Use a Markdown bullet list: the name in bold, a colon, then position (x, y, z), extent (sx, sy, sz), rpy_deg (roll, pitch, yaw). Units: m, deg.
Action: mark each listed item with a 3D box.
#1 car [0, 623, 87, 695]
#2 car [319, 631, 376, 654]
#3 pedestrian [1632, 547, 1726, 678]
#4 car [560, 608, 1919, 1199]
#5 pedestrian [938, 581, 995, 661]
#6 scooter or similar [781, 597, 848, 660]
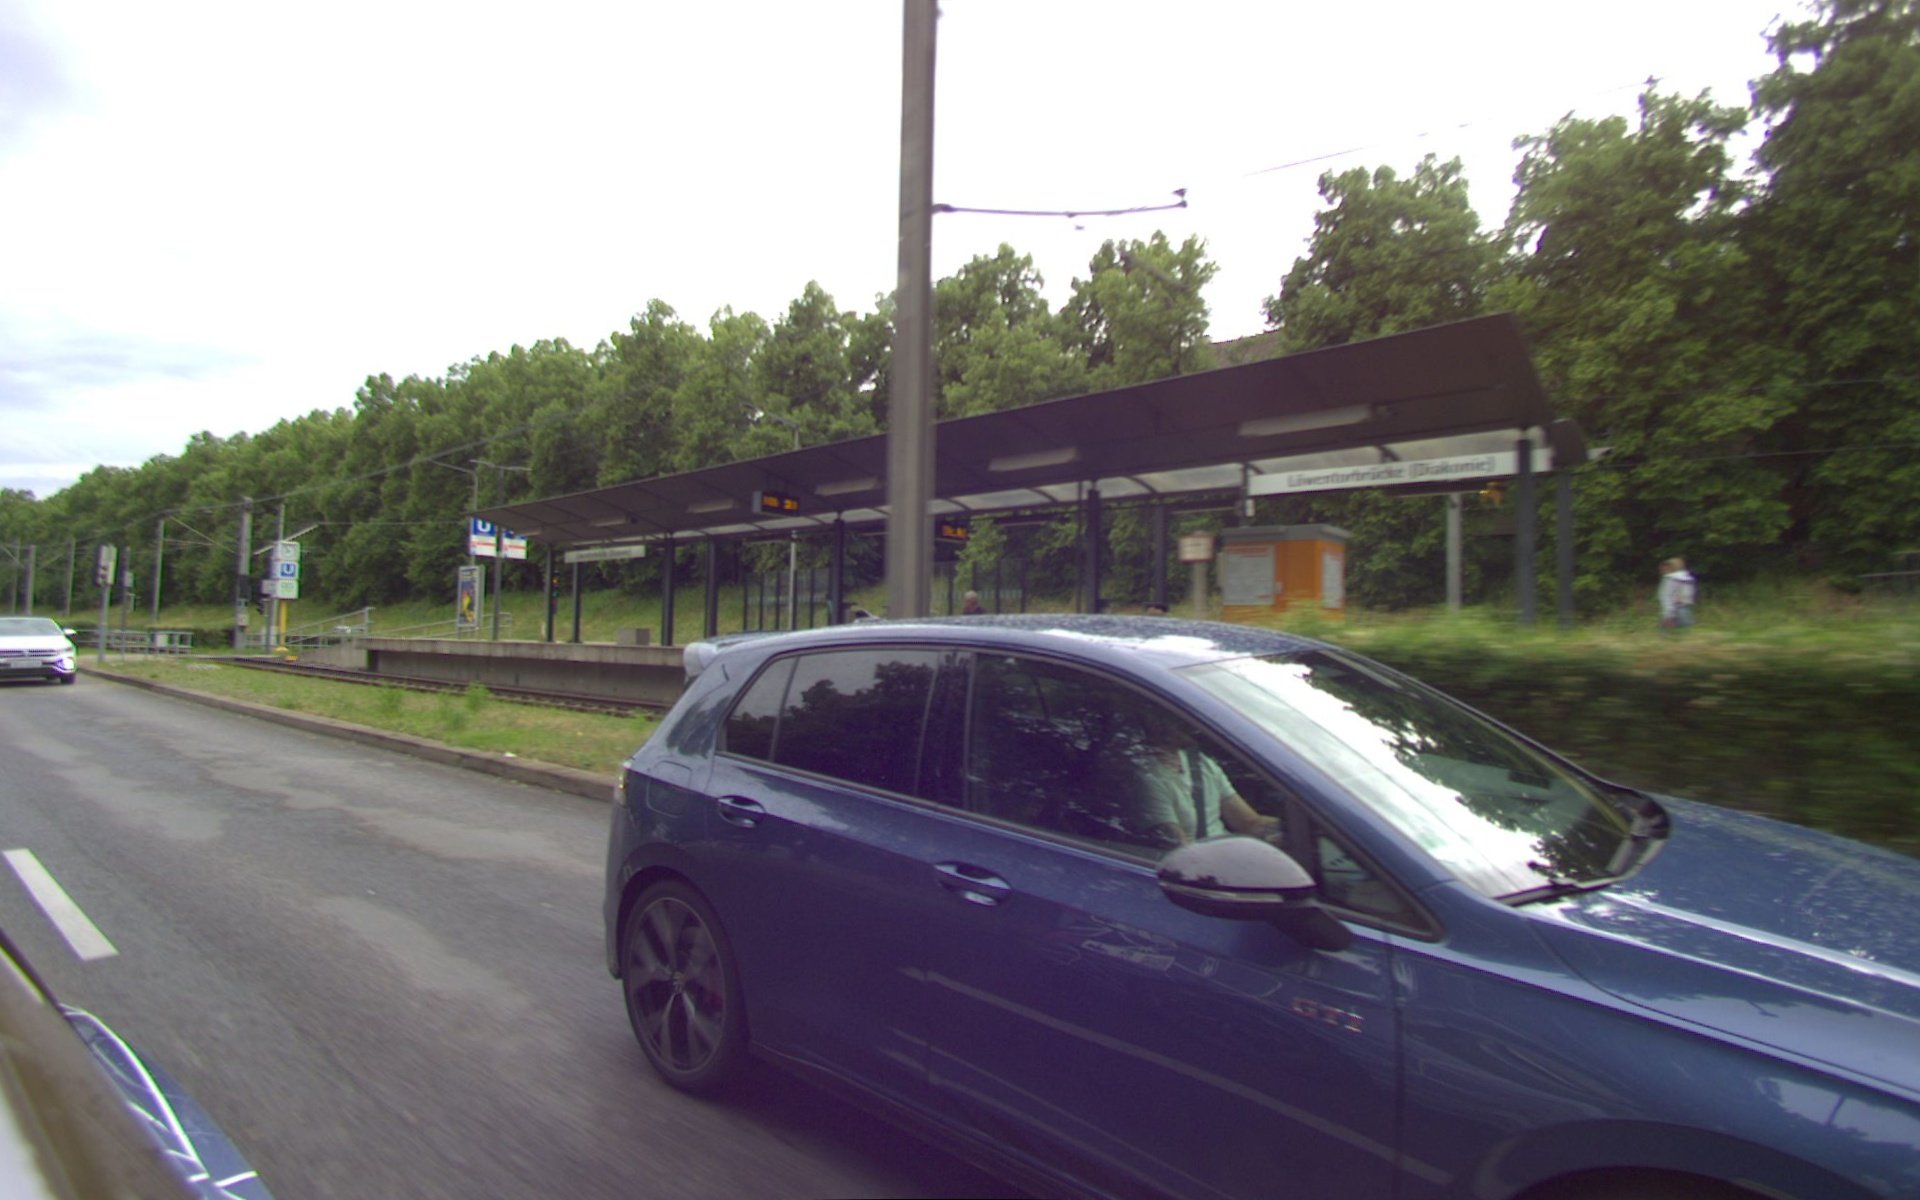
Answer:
- **car**: position (-21.204, 1.259, 22.740), extent (4.701, 1.476, 1.933), rpy_deg (-1, -3, 44)
- **car**: position (-39.065, 2.710, 64.543), extent (3.993, 1.414, 1.779), rpy_deg (-1, -3, 37)
- **pedestrian**: position (9.302, 0.176, 13.145), extent (0.935, 1.623, 1.015), rpy_deg (-1, -3, 34)
- **car**: position (0.842, 0.744, 2.717), extent (4.345, 1.389, 1.789), rpy_deg (-1, -2, 41)
- **pedestrian**: position (0.115, 0.376, 17.924), extent (0.691, 1.366, 0.745), rpy_deg (-1, -3, 39)
- **scooter or similar**: position (-2.890, 0.567, 20.137), extent (1.281, 1.227, 0.380), rpy_deg (0, -1, -4)
